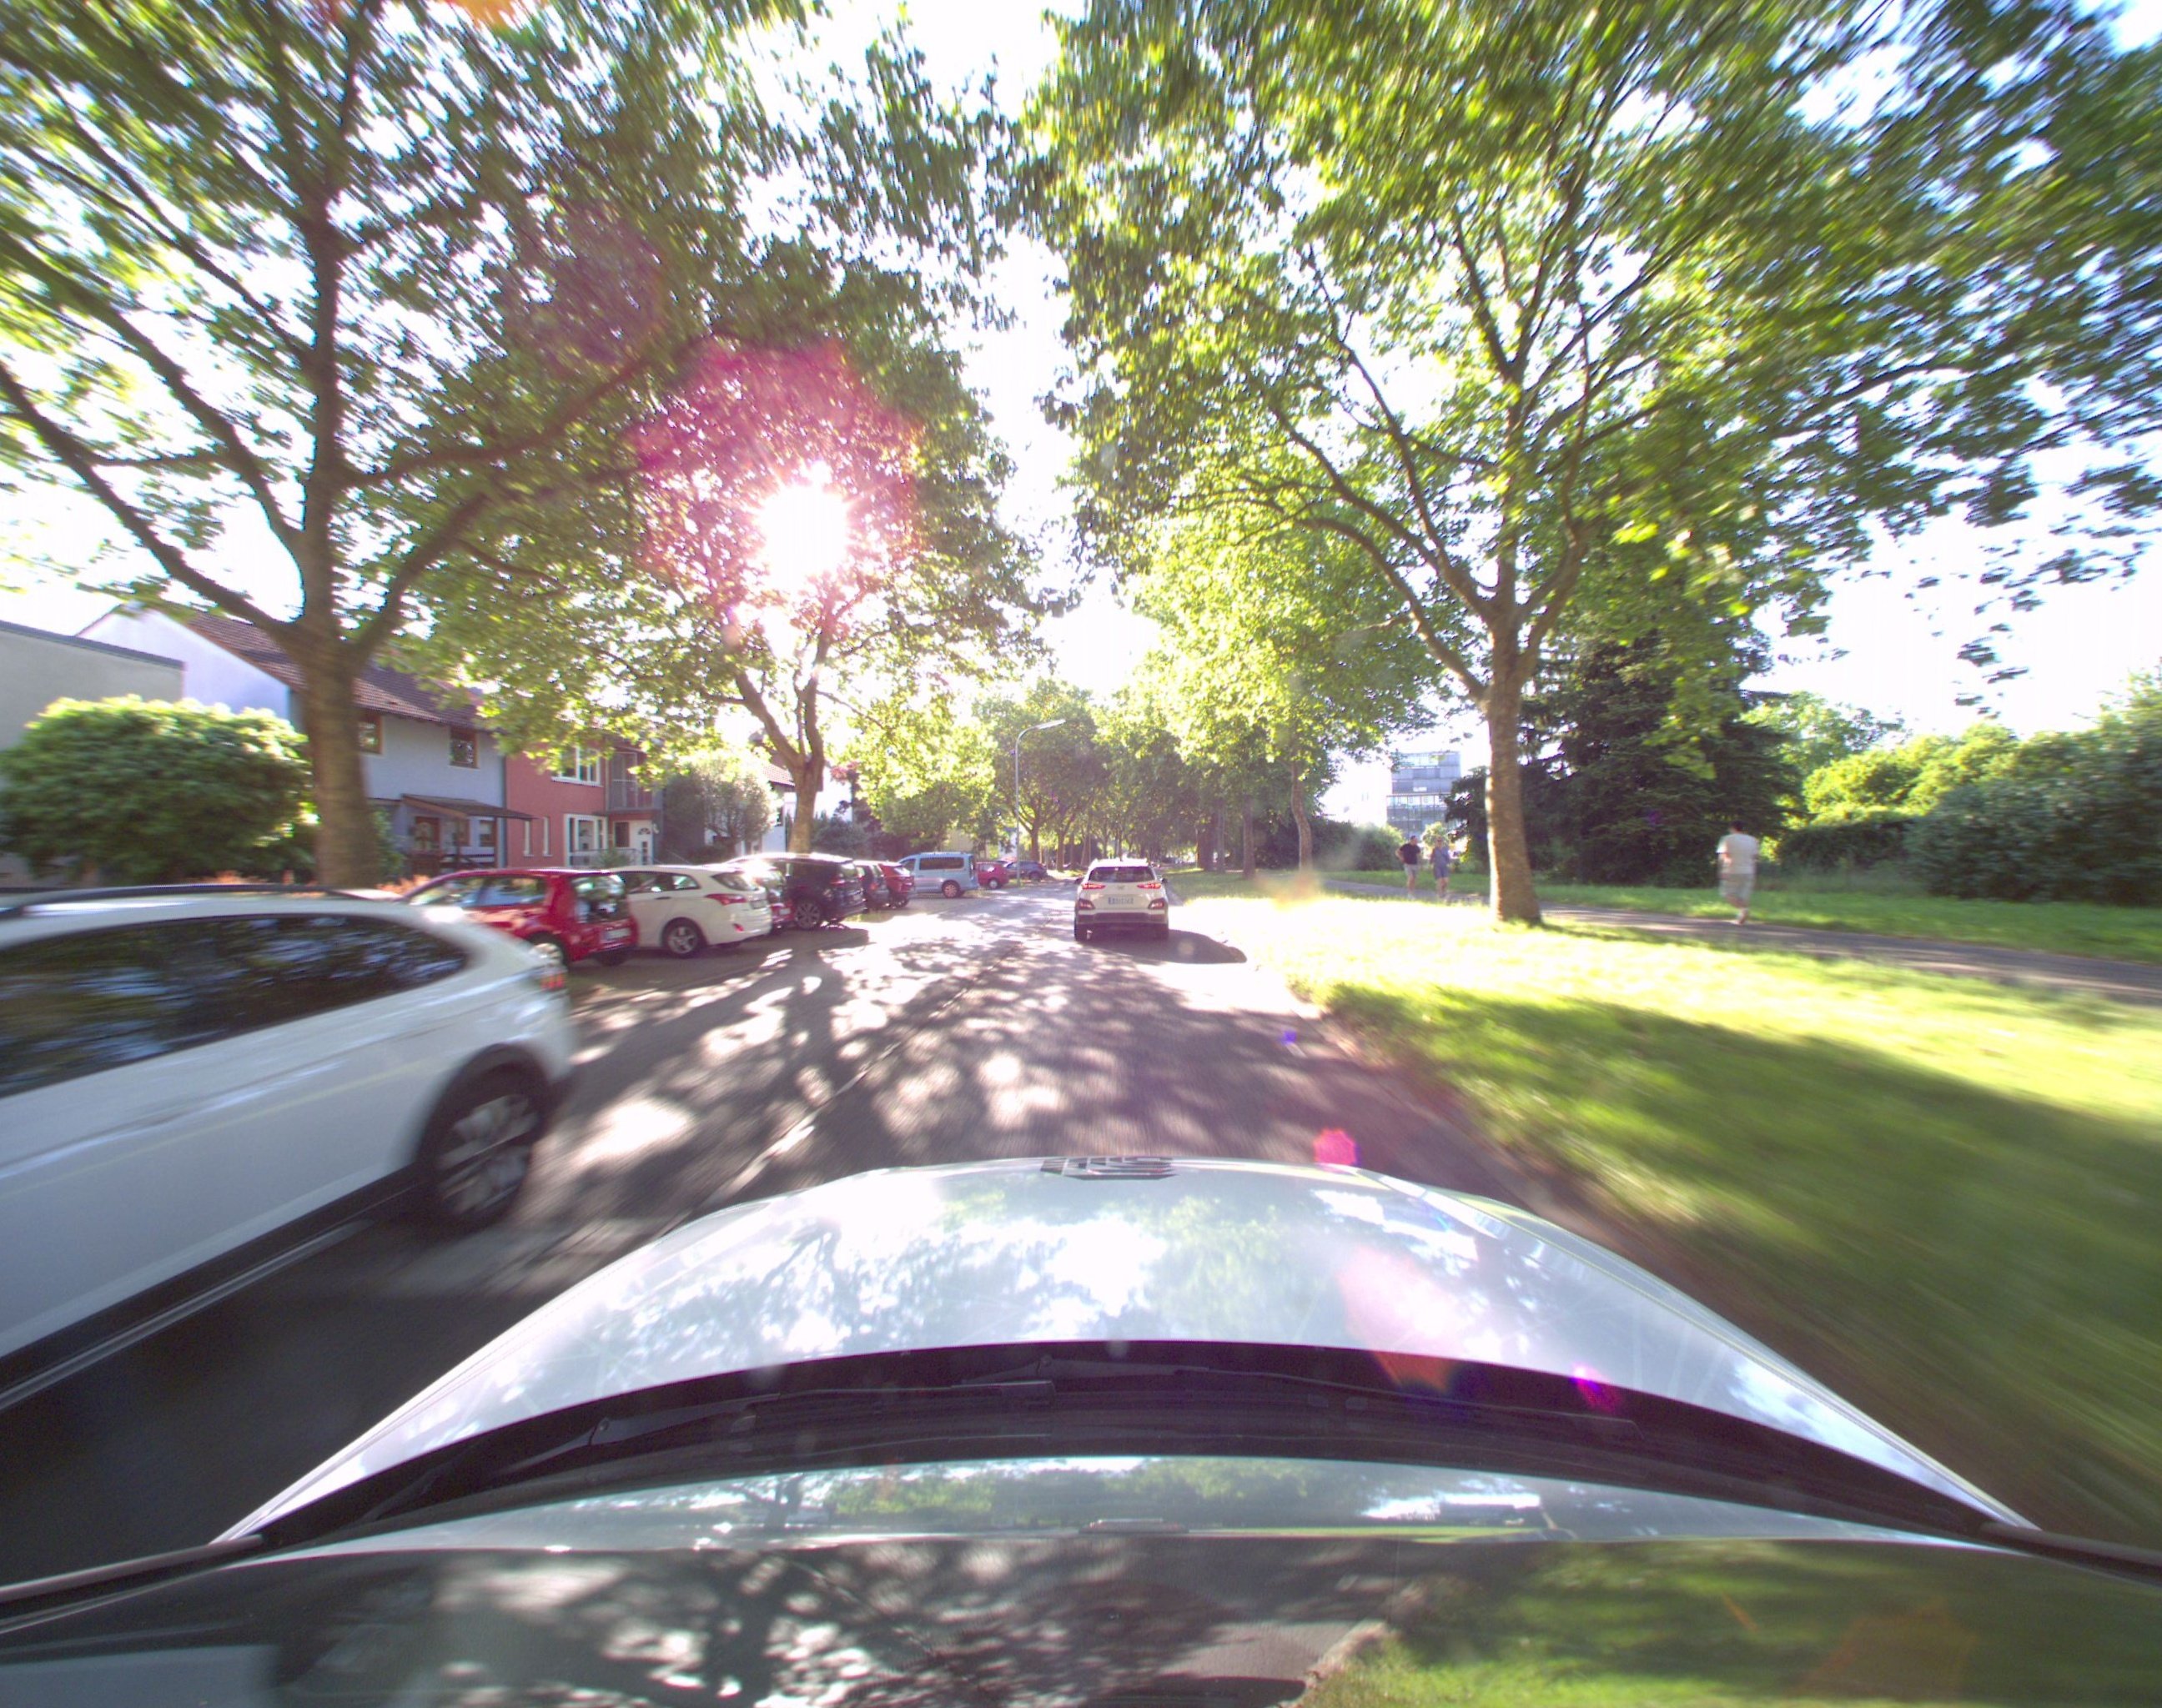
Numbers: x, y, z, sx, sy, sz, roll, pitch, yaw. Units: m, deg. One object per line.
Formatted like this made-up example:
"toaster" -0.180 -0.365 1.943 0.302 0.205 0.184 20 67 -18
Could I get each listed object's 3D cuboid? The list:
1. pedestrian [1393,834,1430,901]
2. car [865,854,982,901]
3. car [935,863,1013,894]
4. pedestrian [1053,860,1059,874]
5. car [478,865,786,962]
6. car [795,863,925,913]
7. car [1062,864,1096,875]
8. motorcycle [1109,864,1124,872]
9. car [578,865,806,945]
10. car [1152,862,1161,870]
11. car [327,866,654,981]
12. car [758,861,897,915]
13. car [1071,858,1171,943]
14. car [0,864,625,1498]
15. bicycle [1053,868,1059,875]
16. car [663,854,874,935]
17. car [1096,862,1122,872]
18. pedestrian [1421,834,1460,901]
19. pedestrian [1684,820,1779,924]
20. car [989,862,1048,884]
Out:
"pedestrian" 9.413 0.384 23.205 0.757 1.846 0.788 -1 -1 6
"car" -6.428 0.953 33.624 4.370 1.824 1.996 0 -1 1
"car" -5.688 1.292 43.513 3.857 1.518 1.665 -1 -1 1
"pedestrian" -3.119 1.609 102.060 0.613 1.716 1.067 -1 -1 6
"car" -7.419 0.943 13.789 4.147 1.501 1.875 0 -1 0
"car" -7.014 1.060 26.132 3.627 1.517 1.783 -1 -1 2
"car" -0.228 1.810 95.831 3.807 1.316 1.793 1 -1 5
"motorcycle" 5.877 2.301 135.345 2.375 1.388 0.649 0 -1 3
"car" -7.753 0.989 16.476 3.744 1.483 1.755 -1 -1 2
"car" 14.445 2.378 156.319 1.681 1.465 3.699 0 -1 5
"car" -8.135 0.920 11.461 3.328 1.480 1.695 0 -1 0
"car" -7.327 0.959 23.765 3.502 1.517 1.726 0 -1 -2
"car" 0.757 0.890 17.021 1.829 1.556 3.999 0 -1 0
"car" -3.410 0.793 2.354 1.709 1.501 4.097 -1 -1 3
"bicycle" -3.135 2.154 101.984 0.467 0.880 2.159 -1 -1 6
"car" -7.049 0.884 18.653 4.075 1.716 1.832 -1 -1 2
"car" 4.626 2.196 132.993 4.164 1.584 2.002 -1 -1 4
"pedestrian" 10.169 0.380 23.058 0.751 1.847 0.803 -1 -1 6
"pedestrian" 10.741 0.292 13.490 0.776 1.649 0.939 -2 -1 2
"car" -4.375 1.338 57.457 3.974 1.518 1.817 0 -1 1
